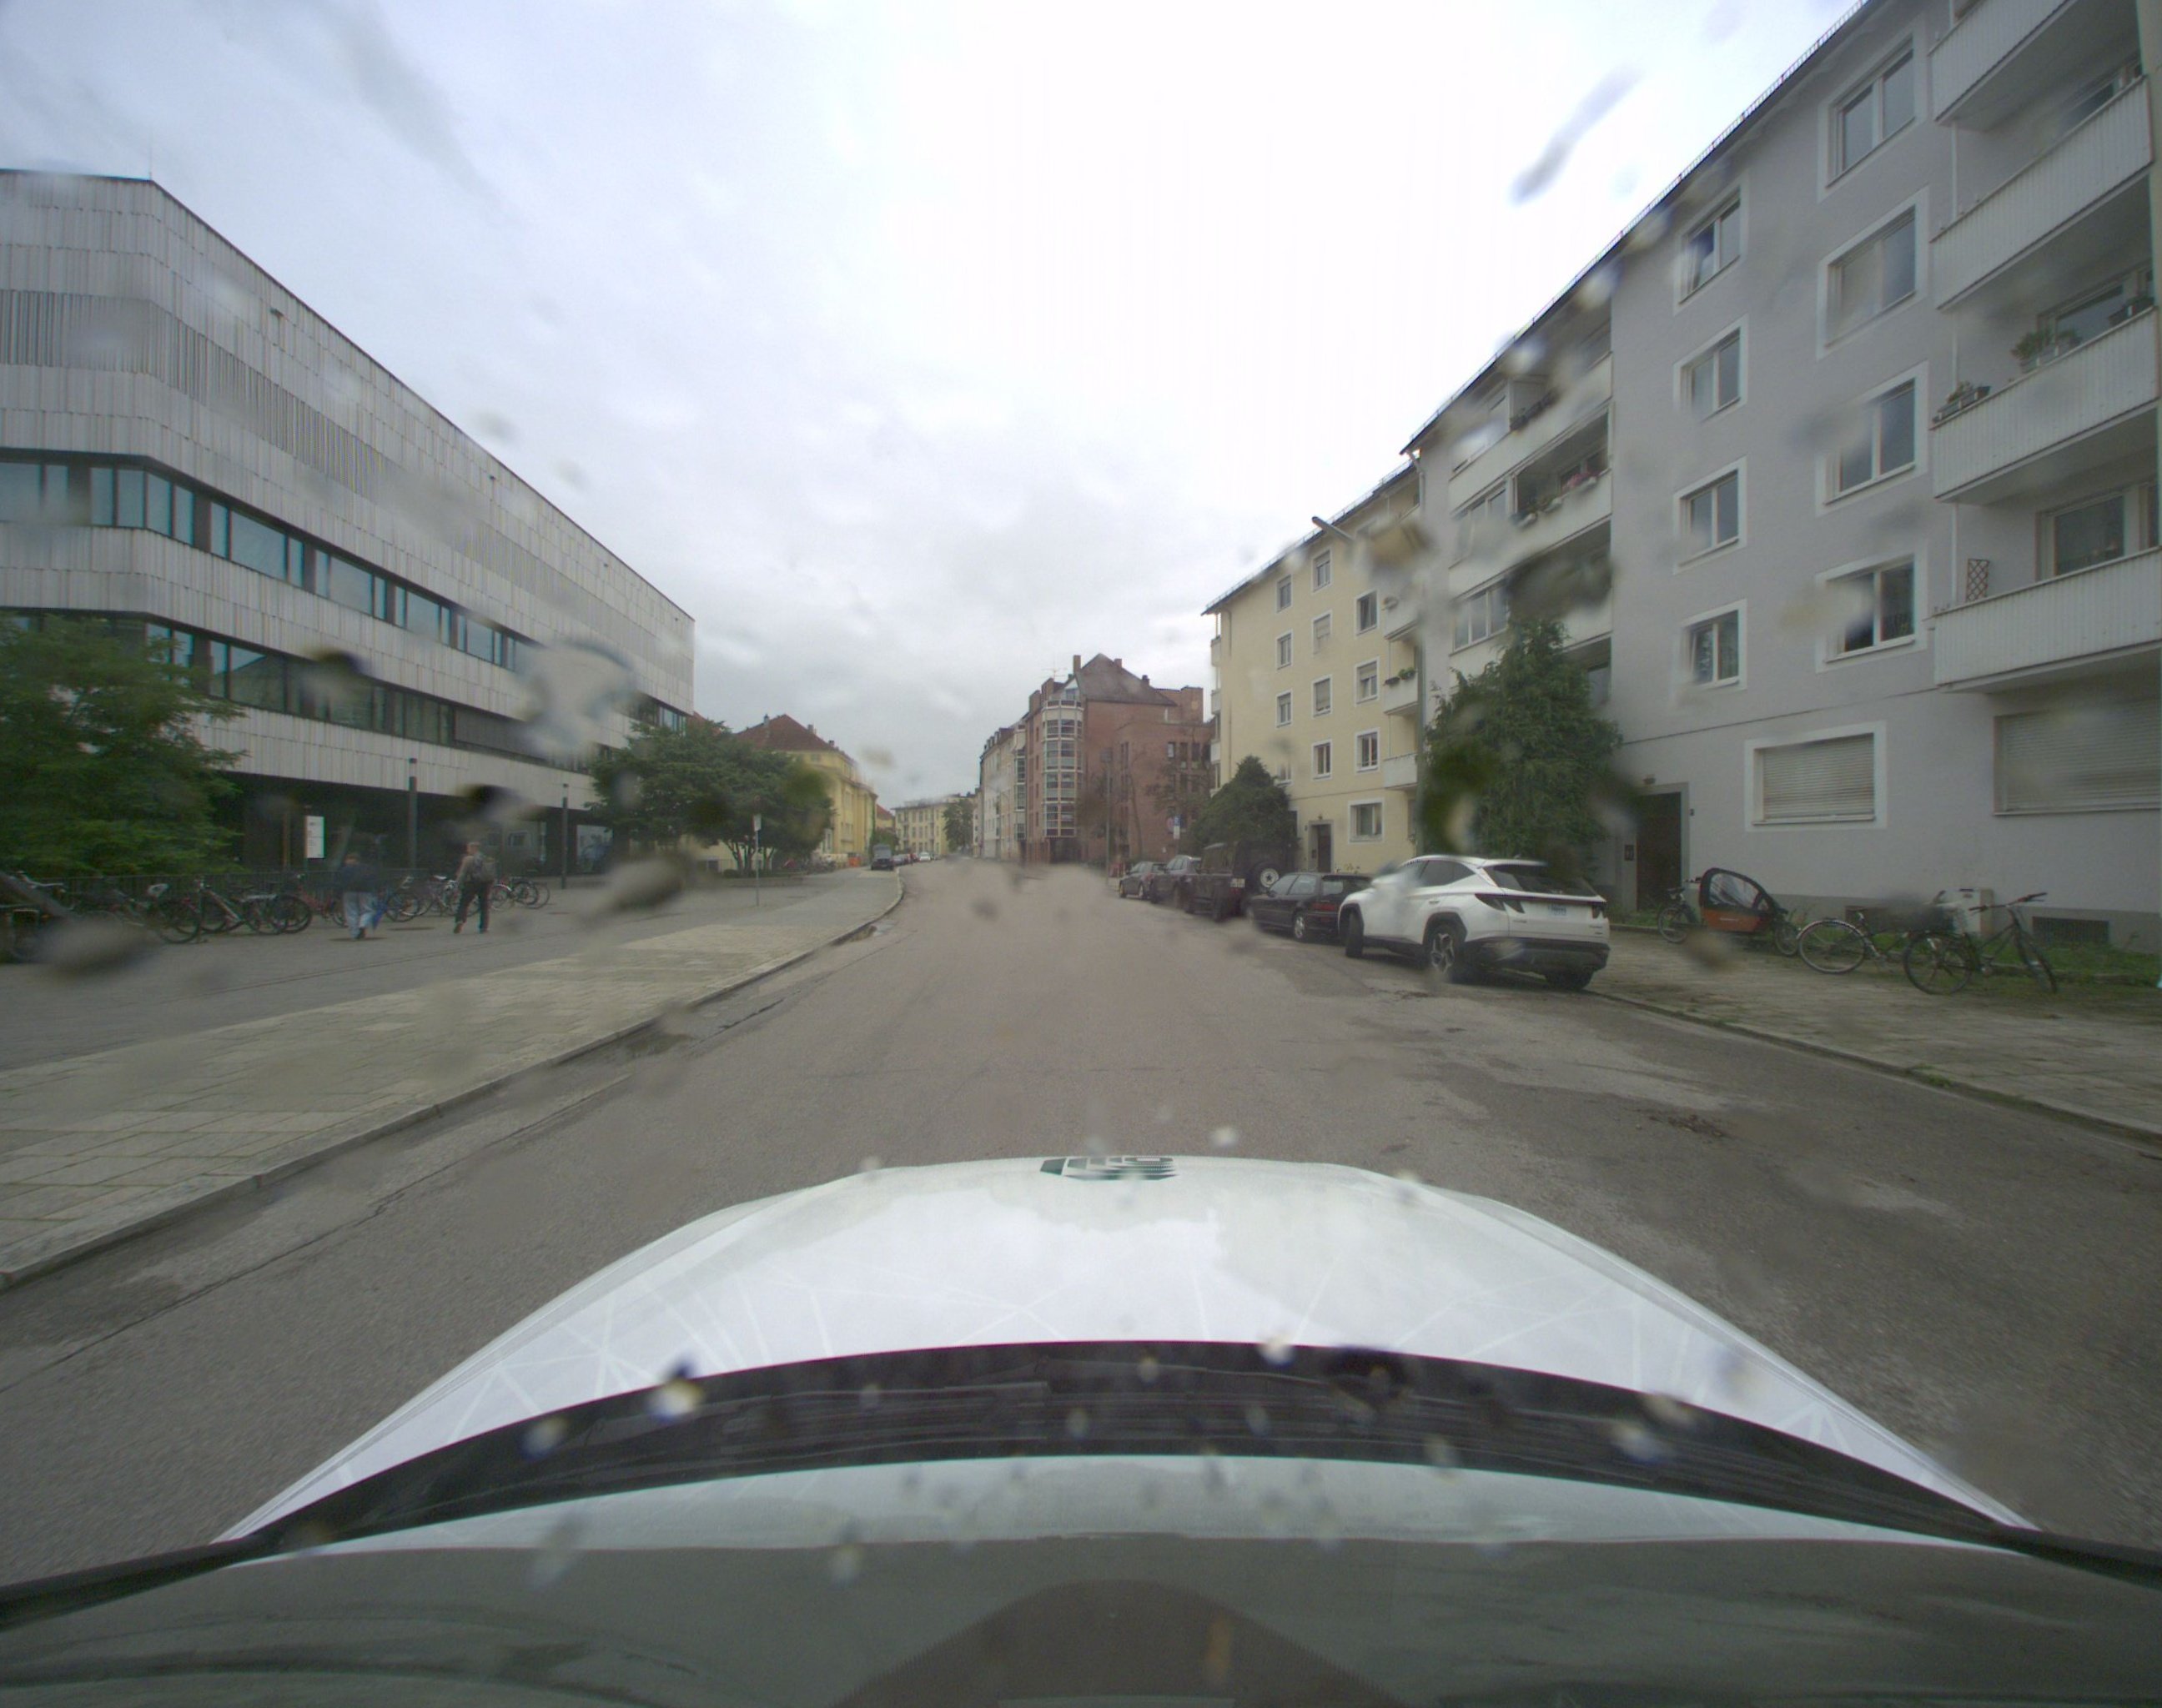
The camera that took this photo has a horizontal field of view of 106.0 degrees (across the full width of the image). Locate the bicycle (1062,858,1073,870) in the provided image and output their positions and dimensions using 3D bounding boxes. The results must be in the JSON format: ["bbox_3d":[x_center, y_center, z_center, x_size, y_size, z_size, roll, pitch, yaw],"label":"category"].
[{"bbox_3d":[-1.253,0.919,75.545,0.487,1.060,1.985,2,0,-16],"label":"bicycle"}]

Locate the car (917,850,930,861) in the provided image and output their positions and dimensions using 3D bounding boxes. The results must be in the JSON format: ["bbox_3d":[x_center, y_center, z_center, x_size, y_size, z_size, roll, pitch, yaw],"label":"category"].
[{"bbox_3d":[-26.806,0.248,138.504,2.028,1.621,4.485,-2,-1,-13],"label":"car"}]

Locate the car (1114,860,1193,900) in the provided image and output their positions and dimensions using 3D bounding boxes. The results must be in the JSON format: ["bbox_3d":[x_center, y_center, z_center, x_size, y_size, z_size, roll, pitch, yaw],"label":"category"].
[{"bbox_3d":[2.676,0.967,30.961,1.756,1.396,4.026,2,-1,-13],"label":"car"}]

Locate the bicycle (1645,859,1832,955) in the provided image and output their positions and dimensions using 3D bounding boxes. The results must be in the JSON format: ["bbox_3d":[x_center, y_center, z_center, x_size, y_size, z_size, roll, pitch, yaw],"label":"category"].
[{"bbox_3d":[10.584,0.790,13.268,0.742,1.367,2.463,-3,0,-9],"label":"bicycle"}]

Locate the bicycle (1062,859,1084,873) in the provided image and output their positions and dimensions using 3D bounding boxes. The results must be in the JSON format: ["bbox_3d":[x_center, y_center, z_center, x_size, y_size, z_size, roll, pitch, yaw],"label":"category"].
[{"bbox_3d":[-0.728,1.088,73.892,1.847,1.147,0.486,2,0,-8],"label":"bicycle"}]

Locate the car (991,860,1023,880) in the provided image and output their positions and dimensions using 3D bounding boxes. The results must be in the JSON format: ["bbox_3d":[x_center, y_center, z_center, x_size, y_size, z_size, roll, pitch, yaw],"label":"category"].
[{"bbox_3d":[-6.153,1.306,67.179,1.927,1.512,4.371,2,-1,-14],"label":"car"}]

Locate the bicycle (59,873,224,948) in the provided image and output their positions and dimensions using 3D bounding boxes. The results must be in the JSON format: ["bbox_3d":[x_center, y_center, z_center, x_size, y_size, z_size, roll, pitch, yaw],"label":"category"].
[{"bbox_3d":[-15.522,0.916,13.482,2.037,1.111,0.617,2,0,2],"label":"bicycle"}]

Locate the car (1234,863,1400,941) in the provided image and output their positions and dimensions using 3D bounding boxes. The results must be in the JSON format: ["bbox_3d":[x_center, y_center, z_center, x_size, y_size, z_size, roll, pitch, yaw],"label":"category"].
[{"bbox_3d":[4.576,0.884,16.358,1.659,1.349,3.790,2,-1,-11],"label":"car"}]

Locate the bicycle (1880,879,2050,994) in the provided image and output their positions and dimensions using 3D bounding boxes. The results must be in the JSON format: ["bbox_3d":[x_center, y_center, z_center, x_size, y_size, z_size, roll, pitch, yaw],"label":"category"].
[{"bbox_3d":[10.167,0.909,9.366,1.831,1.158,0.574,-2,0,-18],"label":"bicycle"}]

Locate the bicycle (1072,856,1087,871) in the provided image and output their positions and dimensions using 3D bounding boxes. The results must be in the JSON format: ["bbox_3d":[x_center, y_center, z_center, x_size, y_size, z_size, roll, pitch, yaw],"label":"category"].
[{"bbox_3d":[-0.140,0.816,67.926,0.535,1.248,2.397,2,-2,-19],"label":"bicycle"}]

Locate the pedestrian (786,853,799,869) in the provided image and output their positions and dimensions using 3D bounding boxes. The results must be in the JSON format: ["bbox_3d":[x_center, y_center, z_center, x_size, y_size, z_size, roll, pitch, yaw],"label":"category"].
[{"bbox_3d":[-22.137,0.515,62.482,0.718,1.163,1.037,2,0,-9],"label":"pedestrian"}]

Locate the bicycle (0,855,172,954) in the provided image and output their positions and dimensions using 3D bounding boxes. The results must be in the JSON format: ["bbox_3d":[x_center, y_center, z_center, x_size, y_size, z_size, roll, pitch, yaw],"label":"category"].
[{"bbox_3d":[-14.886,0.736,11.956,2.097,1.352,0.612,2,0,-9],"label":"bicycle"}]

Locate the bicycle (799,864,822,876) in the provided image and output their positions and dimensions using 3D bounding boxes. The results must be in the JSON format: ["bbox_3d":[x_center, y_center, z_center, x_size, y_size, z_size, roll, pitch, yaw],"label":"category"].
[{"bbox_3d":[-22.008,1.333,66.334,1.671,0.916,0.594,2,0,-4],"label":"bicycle"}]

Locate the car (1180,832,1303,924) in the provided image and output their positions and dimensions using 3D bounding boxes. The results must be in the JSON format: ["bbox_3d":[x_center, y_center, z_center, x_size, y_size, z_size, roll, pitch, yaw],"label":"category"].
[{"bbox_3d":[3.991,0.527,21.092,1.746,2.081,4.505,2,0,-7],"label":"car"}]

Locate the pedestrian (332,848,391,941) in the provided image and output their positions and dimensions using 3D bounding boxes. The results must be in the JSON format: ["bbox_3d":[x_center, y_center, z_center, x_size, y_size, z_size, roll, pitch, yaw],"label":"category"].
[{"bbox_3d":[-12.768,0.704,14.468,0.647,1.601,0.600,2,0,-33],"label":"pedestrian"}]

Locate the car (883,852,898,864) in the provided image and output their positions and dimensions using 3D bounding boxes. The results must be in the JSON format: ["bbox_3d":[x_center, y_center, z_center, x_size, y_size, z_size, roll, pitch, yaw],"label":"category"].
[{"bbox_3d":[-25.664,0.536,109.940,1.773,1.550,3.764,2,0,-11],"label":"car"}]

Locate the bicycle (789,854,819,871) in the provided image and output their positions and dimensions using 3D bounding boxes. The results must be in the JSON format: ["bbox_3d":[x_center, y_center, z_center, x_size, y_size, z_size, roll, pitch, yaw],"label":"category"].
[{"bbox_3d":[-21.895,0.674,64.438,2.100,1.227,0.786,2,0,-4],"label":"bicycle"}]

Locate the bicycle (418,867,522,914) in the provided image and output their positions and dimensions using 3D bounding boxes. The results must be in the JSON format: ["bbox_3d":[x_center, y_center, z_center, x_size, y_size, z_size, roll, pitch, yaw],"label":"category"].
[{"bbox_3d":[-15.747,0.936,21.027,2.046,1.111,0.614,2,0,-11],"label":"bicycle"}]

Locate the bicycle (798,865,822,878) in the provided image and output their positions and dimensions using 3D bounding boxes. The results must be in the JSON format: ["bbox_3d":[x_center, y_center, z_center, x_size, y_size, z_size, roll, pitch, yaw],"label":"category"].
[{"bbox_3d":[-22.573,1.460,67.926,1.787,1.033,0.507,2,0,-4],"label":"bicycle"}]

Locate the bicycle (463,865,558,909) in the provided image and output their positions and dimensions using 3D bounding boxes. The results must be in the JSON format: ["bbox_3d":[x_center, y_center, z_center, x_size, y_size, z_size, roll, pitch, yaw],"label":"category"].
[{"bbox_3d":[-15.757,0.910,22.534,2.046,1.111,0.614,2,0,-11],"label":"bicycle"}]

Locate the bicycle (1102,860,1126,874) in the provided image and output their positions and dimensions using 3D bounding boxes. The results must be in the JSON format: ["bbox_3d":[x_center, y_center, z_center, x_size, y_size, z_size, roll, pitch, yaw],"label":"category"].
[{"bbox_3d":[2.428,0.946,60.252,1.702,0.965,0.544,2,0,-14],"label":"bicycle"}]

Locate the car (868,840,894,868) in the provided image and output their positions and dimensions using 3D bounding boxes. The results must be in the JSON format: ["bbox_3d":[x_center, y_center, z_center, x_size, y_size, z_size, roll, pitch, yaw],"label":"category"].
[{"bbox_3d":[-20.737,0.037,84.191,2.426,2.715,5.922,-1,-1,-15],"label":"car"}]

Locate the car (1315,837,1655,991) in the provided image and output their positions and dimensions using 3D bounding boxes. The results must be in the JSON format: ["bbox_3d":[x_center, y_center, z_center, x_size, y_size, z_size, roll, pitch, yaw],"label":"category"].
[{"bbox_3d":[5.216,0.654,11.417,2.025,1.678,4.601,2,0,-7],"label":"car"}]

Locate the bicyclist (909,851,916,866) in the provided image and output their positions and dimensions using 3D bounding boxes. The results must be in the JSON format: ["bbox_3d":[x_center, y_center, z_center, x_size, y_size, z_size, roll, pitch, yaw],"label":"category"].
[{"bbox_3d":[-22.755,0.641,109.968,0.766,2.013,0.765,-3,1,-9],"label":"bicyclist"}]

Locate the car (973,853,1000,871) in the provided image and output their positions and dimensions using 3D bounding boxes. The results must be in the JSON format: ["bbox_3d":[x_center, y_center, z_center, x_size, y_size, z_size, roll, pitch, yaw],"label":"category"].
[{"bbox_3d":[-9.010,0.736,77.435,1.835,1.602,4.241,2,0,-17],"label":"car"}]

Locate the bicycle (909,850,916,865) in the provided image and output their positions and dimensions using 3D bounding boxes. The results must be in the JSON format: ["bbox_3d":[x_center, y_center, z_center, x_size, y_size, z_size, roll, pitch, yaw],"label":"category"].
[{"bbox_3d":[-22.718,0.425,109.857,0.747,2.013,2.840,-2,1,-8],"label":"bicycle"}]

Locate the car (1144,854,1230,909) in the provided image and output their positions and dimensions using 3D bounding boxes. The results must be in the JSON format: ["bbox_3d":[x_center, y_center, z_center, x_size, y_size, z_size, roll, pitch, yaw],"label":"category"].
[{"bbox_3d":[3.311,0.832,26.388,1.657,1.566,4.503,2,-1,-7],"label":"car"}]

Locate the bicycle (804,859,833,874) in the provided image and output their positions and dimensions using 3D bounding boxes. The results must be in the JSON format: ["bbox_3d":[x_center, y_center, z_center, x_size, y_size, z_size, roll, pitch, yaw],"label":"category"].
[{"bbox_3d":[-22.674,1.077,70.428,2.305,1.135,0.581,2,0,-4],"label":"bicycle"}]

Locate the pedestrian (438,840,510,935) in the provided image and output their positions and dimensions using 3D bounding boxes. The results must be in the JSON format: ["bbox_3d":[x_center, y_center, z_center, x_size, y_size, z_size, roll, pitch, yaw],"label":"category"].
[{"bbox_3d":[-11.908,0.652,16.002,0.788,1.782,1.008,2,-1,-19],"label":"pedestrian"}]

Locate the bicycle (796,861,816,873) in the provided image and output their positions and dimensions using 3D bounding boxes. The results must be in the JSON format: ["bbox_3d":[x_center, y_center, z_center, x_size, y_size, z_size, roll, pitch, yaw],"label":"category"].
[{"bbox_3d":[-21.214,0.989,62.928,1.371,0.862,0.438,2,0,-8],"label":"bicycle"}]

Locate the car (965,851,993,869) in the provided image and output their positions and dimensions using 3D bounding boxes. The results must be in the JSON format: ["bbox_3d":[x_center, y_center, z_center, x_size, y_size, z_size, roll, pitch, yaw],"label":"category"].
[{"bbox_3d":[-10.329,0.588,81.995,1.969,1.602,4.644,2,0,-17],"label":"car"}]

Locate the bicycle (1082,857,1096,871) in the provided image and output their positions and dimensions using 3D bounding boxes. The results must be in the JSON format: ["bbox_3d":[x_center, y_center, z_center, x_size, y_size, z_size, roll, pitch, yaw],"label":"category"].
[{"bbox_3d":[0.658,0.828,66.492,0.416,1.173,1.370,2,0,31],"label":"bicycle"}]

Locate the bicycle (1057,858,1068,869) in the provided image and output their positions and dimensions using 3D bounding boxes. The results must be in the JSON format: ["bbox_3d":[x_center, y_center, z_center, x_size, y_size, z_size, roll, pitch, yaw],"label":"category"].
[{"bbox_3d":[-1.749,0.889,75.414,0.487,1.060,1.984,2,-1,-16],"label":"bicycle"}]

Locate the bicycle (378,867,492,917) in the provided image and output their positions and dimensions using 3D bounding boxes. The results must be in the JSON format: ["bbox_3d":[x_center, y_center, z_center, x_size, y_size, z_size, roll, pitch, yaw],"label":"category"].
[{"bbox_3d":[-15.440,0.905,19.504,2.046,1.111,0.614,2,0,-11],"label":"bicycle"}]

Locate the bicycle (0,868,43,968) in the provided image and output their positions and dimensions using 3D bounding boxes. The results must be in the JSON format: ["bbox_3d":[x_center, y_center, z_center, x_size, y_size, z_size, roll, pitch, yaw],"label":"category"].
[{"bbox_3d":[-14.656,0.811,10.600,1.449,1.259,0.461,2,0,-9],"label":"bicycle"}]

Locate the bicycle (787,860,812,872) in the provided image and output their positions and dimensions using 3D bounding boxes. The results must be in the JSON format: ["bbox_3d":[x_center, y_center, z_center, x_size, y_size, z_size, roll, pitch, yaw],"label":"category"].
[{"bbox_3d":[-21.345,0.908,61.835,1.717,0.862,0.438,2,0,-8],"label":"bicycle"}]

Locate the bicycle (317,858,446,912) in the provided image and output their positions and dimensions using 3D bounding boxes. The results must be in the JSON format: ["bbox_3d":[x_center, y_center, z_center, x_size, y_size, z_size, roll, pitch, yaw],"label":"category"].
[{"bbox_3d":[-15.341,0.674,17.912,2.049,1.111,0.614,2,0,-15],"label":"bicycle"}]

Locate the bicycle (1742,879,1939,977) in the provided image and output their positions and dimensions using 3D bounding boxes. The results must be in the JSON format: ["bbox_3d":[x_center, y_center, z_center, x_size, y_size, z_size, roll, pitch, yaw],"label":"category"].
[{"bbox_3d":[10.103,0.933,10.915,0.579,1.158,1.815,-2,0,-29],"label":"bicycle"}]

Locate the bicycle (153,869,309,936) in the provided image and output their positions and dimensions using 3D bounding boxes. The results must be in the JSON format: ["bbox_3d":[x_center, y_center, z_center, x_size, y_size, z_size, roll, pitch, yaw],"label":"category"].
[{"bbox_3d":[-15.491,0.881,14.872,2.042,1.111,0.616,2,0,-5],"label":"bicycle"}]

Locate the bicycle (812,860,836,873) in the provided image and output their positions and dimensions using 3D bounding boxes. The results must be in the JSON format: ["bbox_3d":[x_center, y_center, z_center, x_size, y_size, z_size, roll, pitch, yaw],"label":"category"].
[{"bbox_3d":[-23.067,1.127,73.141,1.952,1.131,0.572,2,0,-4],"label":"bicycle"}]

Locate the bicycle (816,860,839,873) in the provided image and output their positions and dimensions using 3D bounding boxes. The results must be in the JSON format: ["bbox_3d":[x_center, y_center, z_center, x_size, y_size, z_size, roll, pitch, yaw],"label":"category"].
[{"bbox_3d":[-23.275,1.144,74.763,1.900,1.092,0.677,2,0,-4],"label":"bicycle"}]

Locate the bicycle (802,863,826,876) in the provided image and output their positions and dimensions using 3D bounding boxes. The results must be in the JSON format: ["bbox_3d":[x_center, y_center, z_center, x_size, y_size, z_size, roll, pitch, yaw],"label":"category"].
[{"bbox_3d":[-22.528,1.329,68.699,1.863,1.029,0.539,2,0,-4],"label":"bicycle"}]

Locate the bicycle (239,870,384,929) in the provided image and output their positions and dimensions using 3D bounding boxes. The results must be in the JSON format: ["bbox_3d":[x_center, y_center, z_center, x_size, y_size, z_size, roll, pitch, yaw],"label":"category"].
[{"bbox_3d":[-15.593,0.925,16.560,2.049,1.111,0.614,2,0,-15],"label":"bicycle"}]
